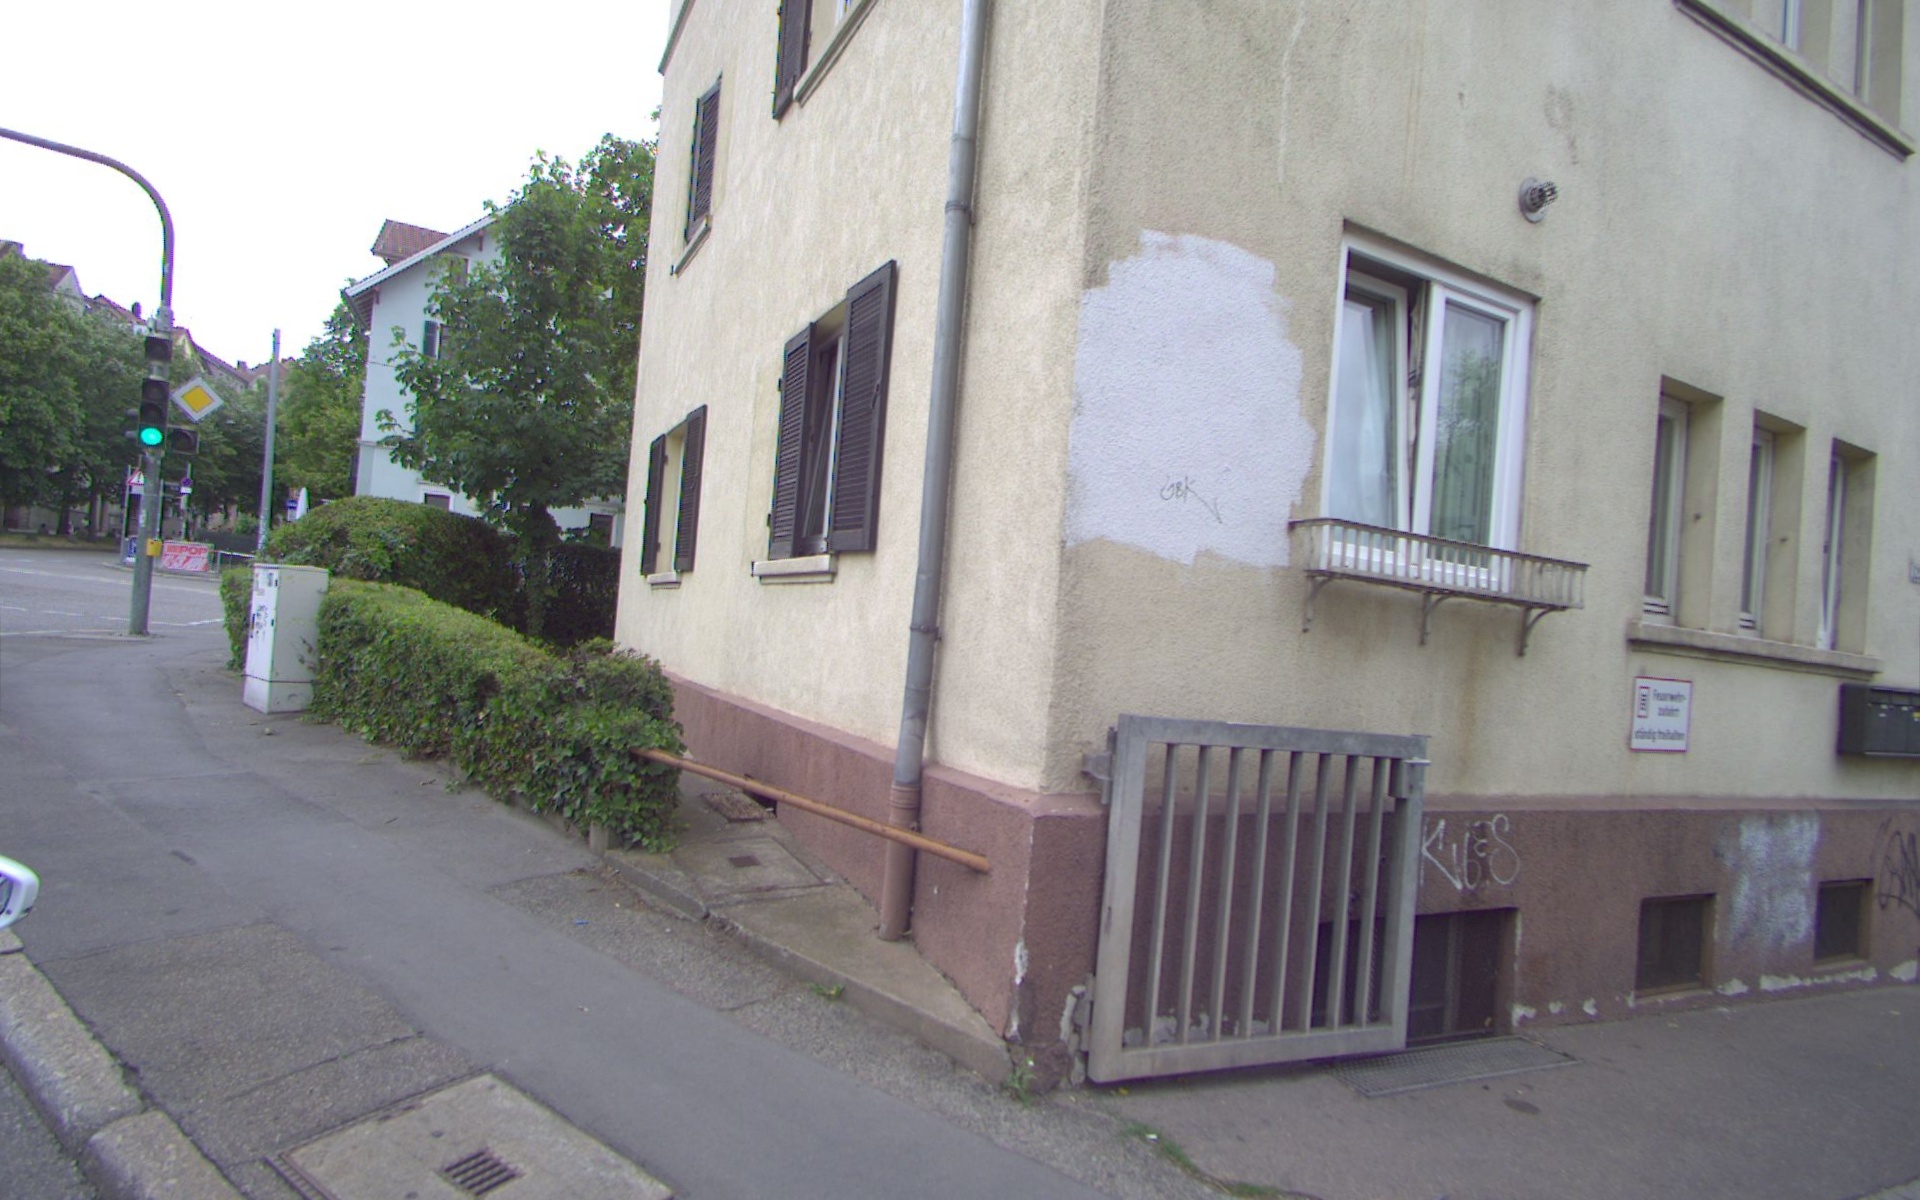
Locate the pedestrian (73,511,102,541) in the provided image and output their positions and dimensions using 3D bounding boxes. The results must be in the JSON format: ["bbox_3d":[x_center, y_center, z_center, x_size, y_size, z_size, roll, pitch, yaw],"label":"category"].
[{"bbox_3d":[-66.339,-5.600,76.494,1.179,2.038,0.984,7,0,-21],"label":"pedestrian"}]
